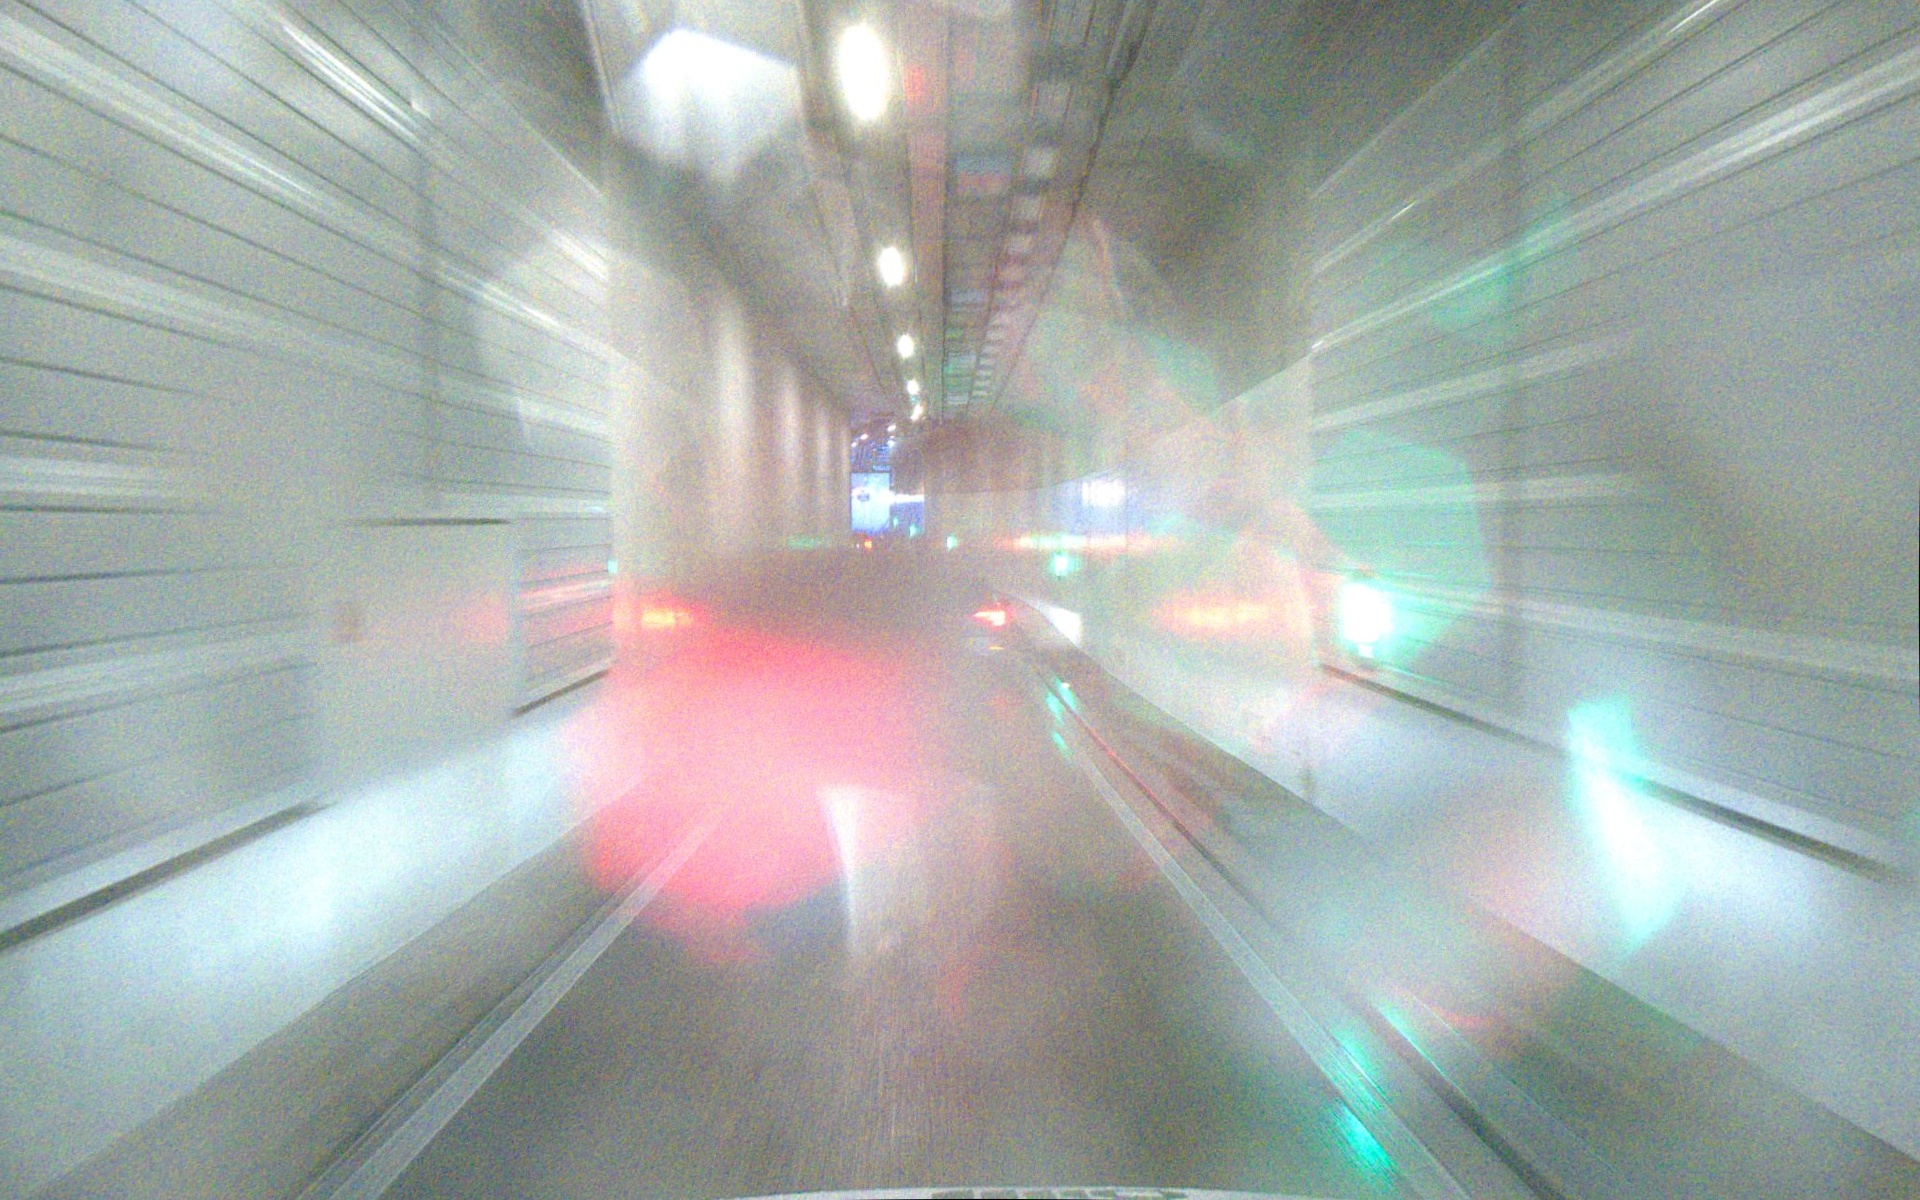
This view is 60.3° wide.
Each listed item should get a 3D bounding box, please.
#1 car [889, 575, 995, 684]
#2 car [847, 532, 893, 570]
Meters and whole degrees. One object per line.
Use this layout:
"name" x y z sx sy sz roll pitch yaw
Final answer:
"car" -0.287 0.409 25.704 1.501 1.421 3.434 2 3 -1
"car" -4.135 -2.245 75.594 1.844 1.648 3.995 2 2 -6
